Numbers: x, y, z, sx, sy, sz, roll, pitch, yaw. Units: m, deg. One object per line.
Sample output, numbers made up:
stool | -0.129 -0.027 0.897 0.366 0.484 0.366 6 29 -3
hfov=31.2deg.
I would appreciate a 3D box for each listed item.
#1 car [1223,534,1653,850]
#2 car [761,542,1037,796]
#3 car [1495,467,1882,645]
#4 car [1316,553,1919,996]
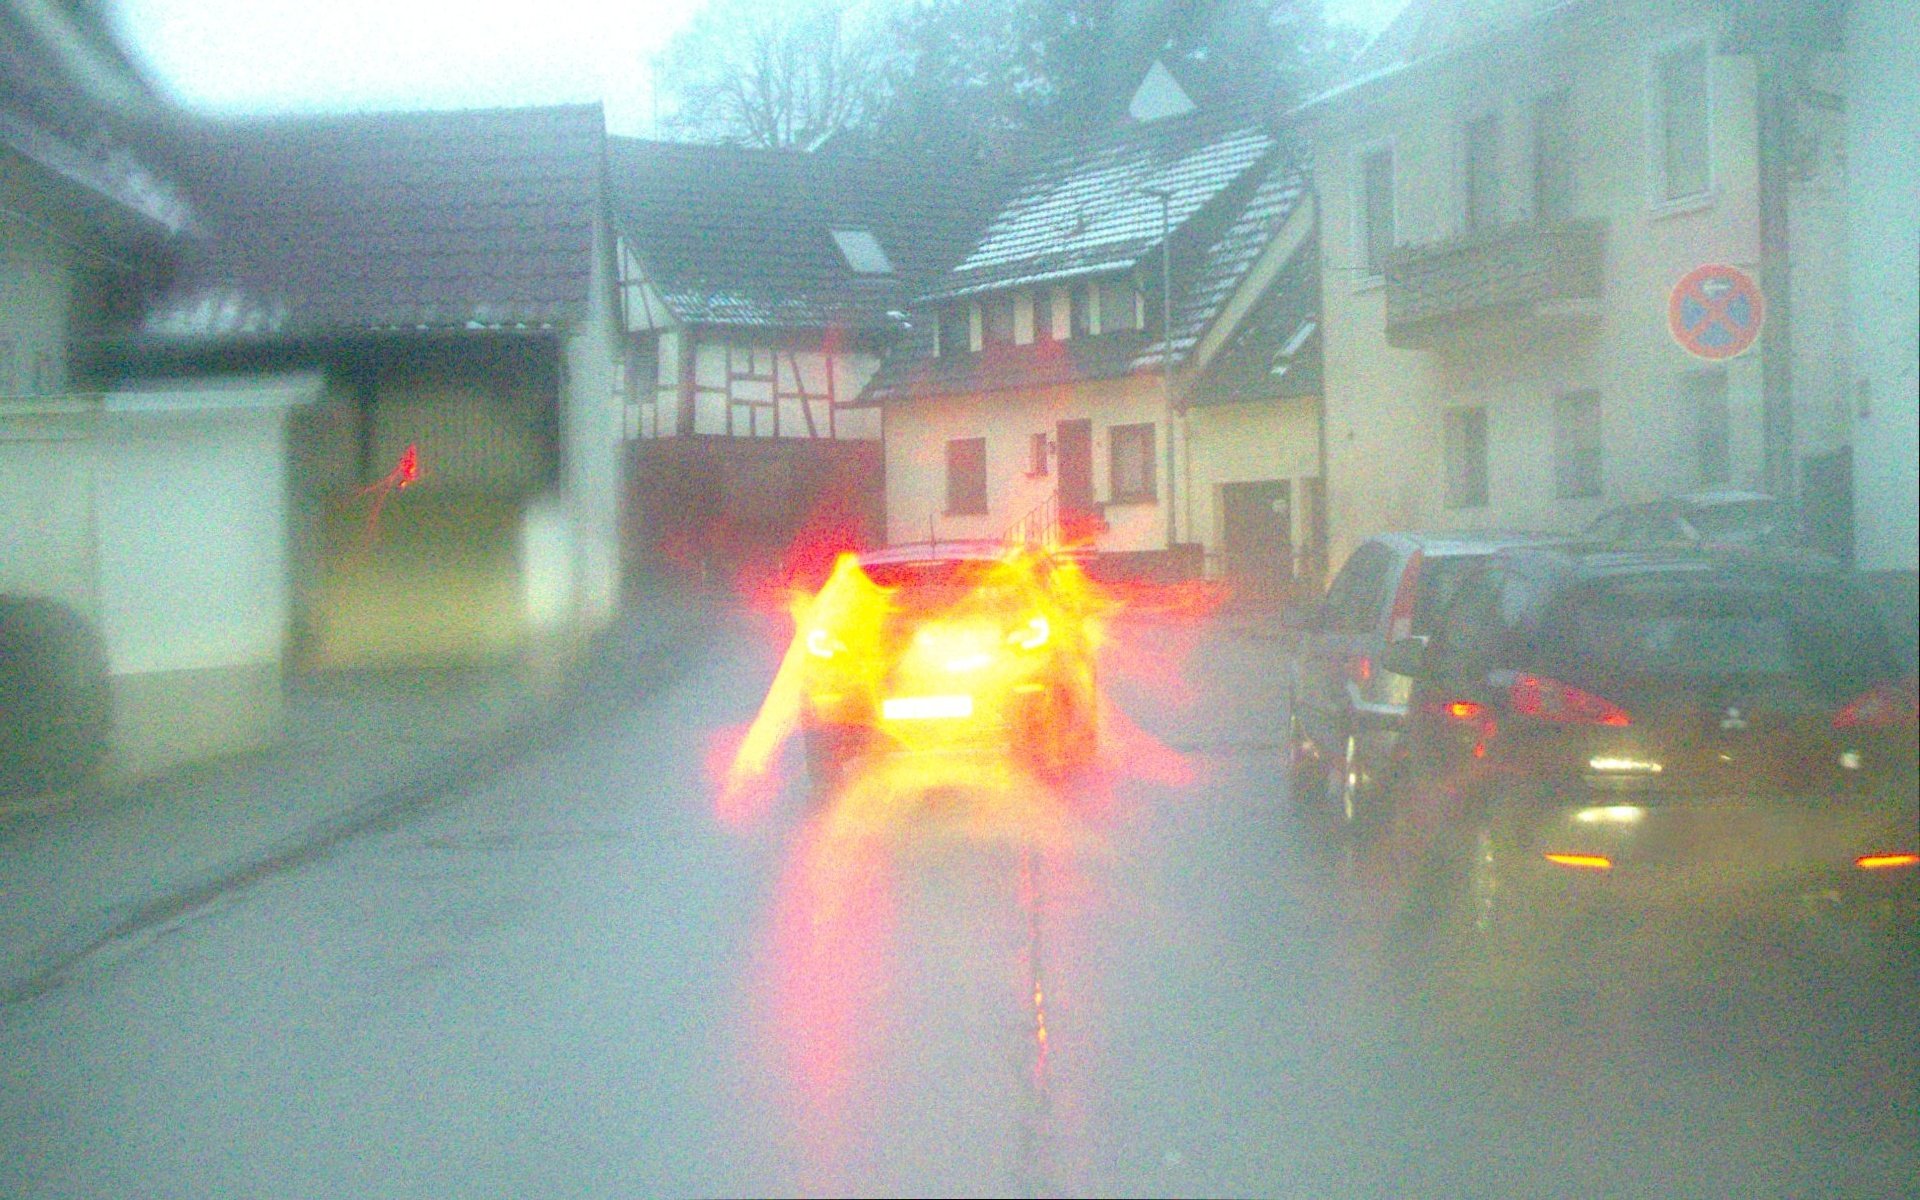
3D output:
car | 2.422 0.401 18.319 1.638 1.489 4.000 0 1 -1
car | -0.320 0.370 21.934 1.546 1.461 3.698 0 1 2
car | 6.839 -0.385 32.760 1.806 1.482 4.279 -4 1 -14
car | 2.484 0.564 13.598 1.638 1.466 4.000 0 1 -1
